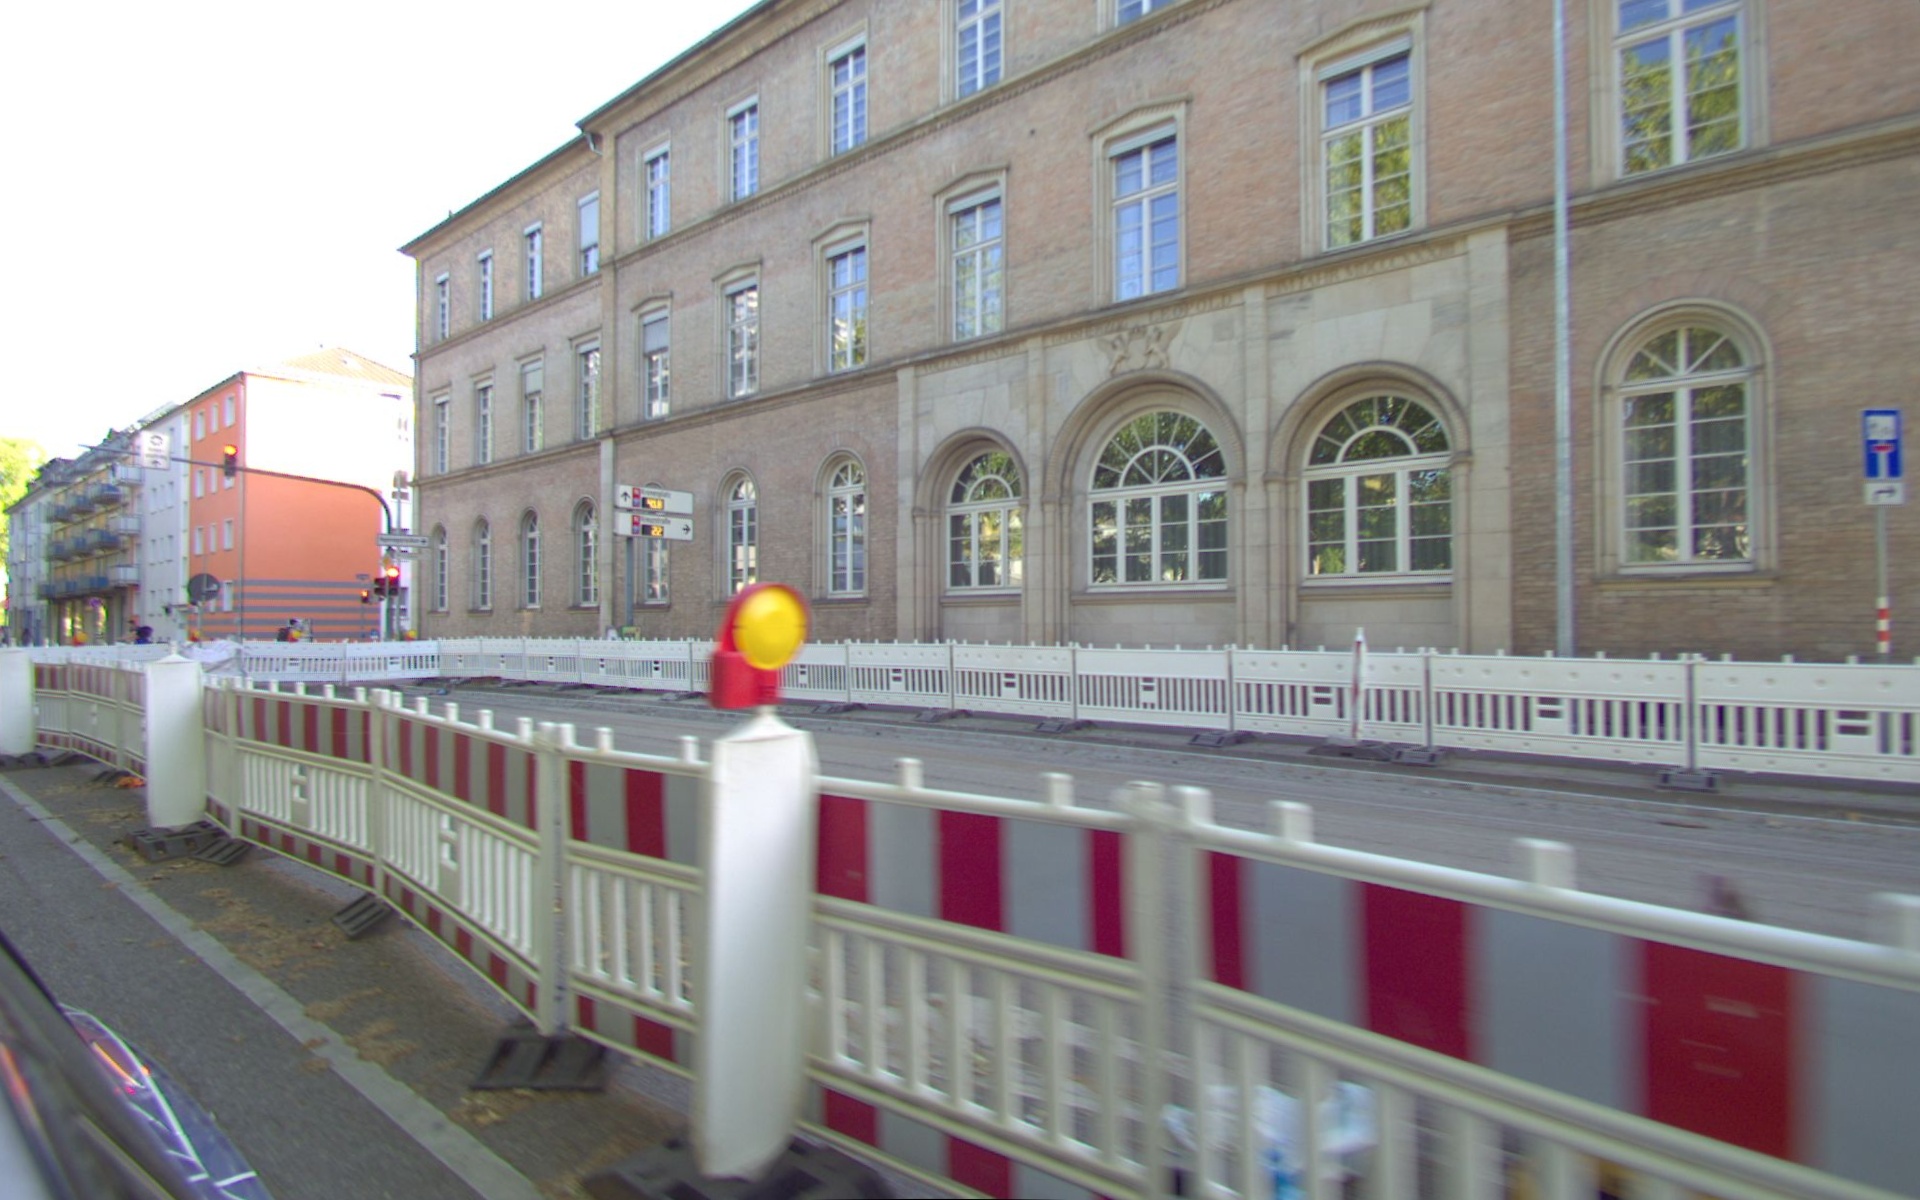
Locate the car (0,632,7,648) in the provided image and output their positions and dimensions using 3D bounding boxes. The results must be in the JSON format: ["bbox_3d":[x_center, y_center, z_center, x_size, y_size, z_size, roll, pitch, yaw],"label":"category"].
[{"bbox_3d":[-100.880,4.140,104.169,1.833,1.712,3.944,-2,-3,42],"label":"car"}]

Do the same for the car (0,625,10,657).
[{"bbox_3d":[-56.609,2.337,58.164,5.115,1.831,1.976,-1,-3,36],"label":"car"}]

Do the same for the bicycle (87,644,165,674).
[{"bbox_3d":[-28.266,2.007,34.348,1.960,1.007,0.792,2,-5,-37],"label":"bicycle"}]

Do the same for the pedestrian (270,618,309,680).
[{"bbox_3d":[-19.836,1.443,29.954,0.870,1.785,0.749,1,-3,-39],"label":"pedestrian"}]

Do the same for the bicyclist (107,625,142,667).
[{"bbox_3d":[-28.339,1.577,34.338,0.825,1.383,0.793,3,-6,-36],"label":"bicyclist"}]
